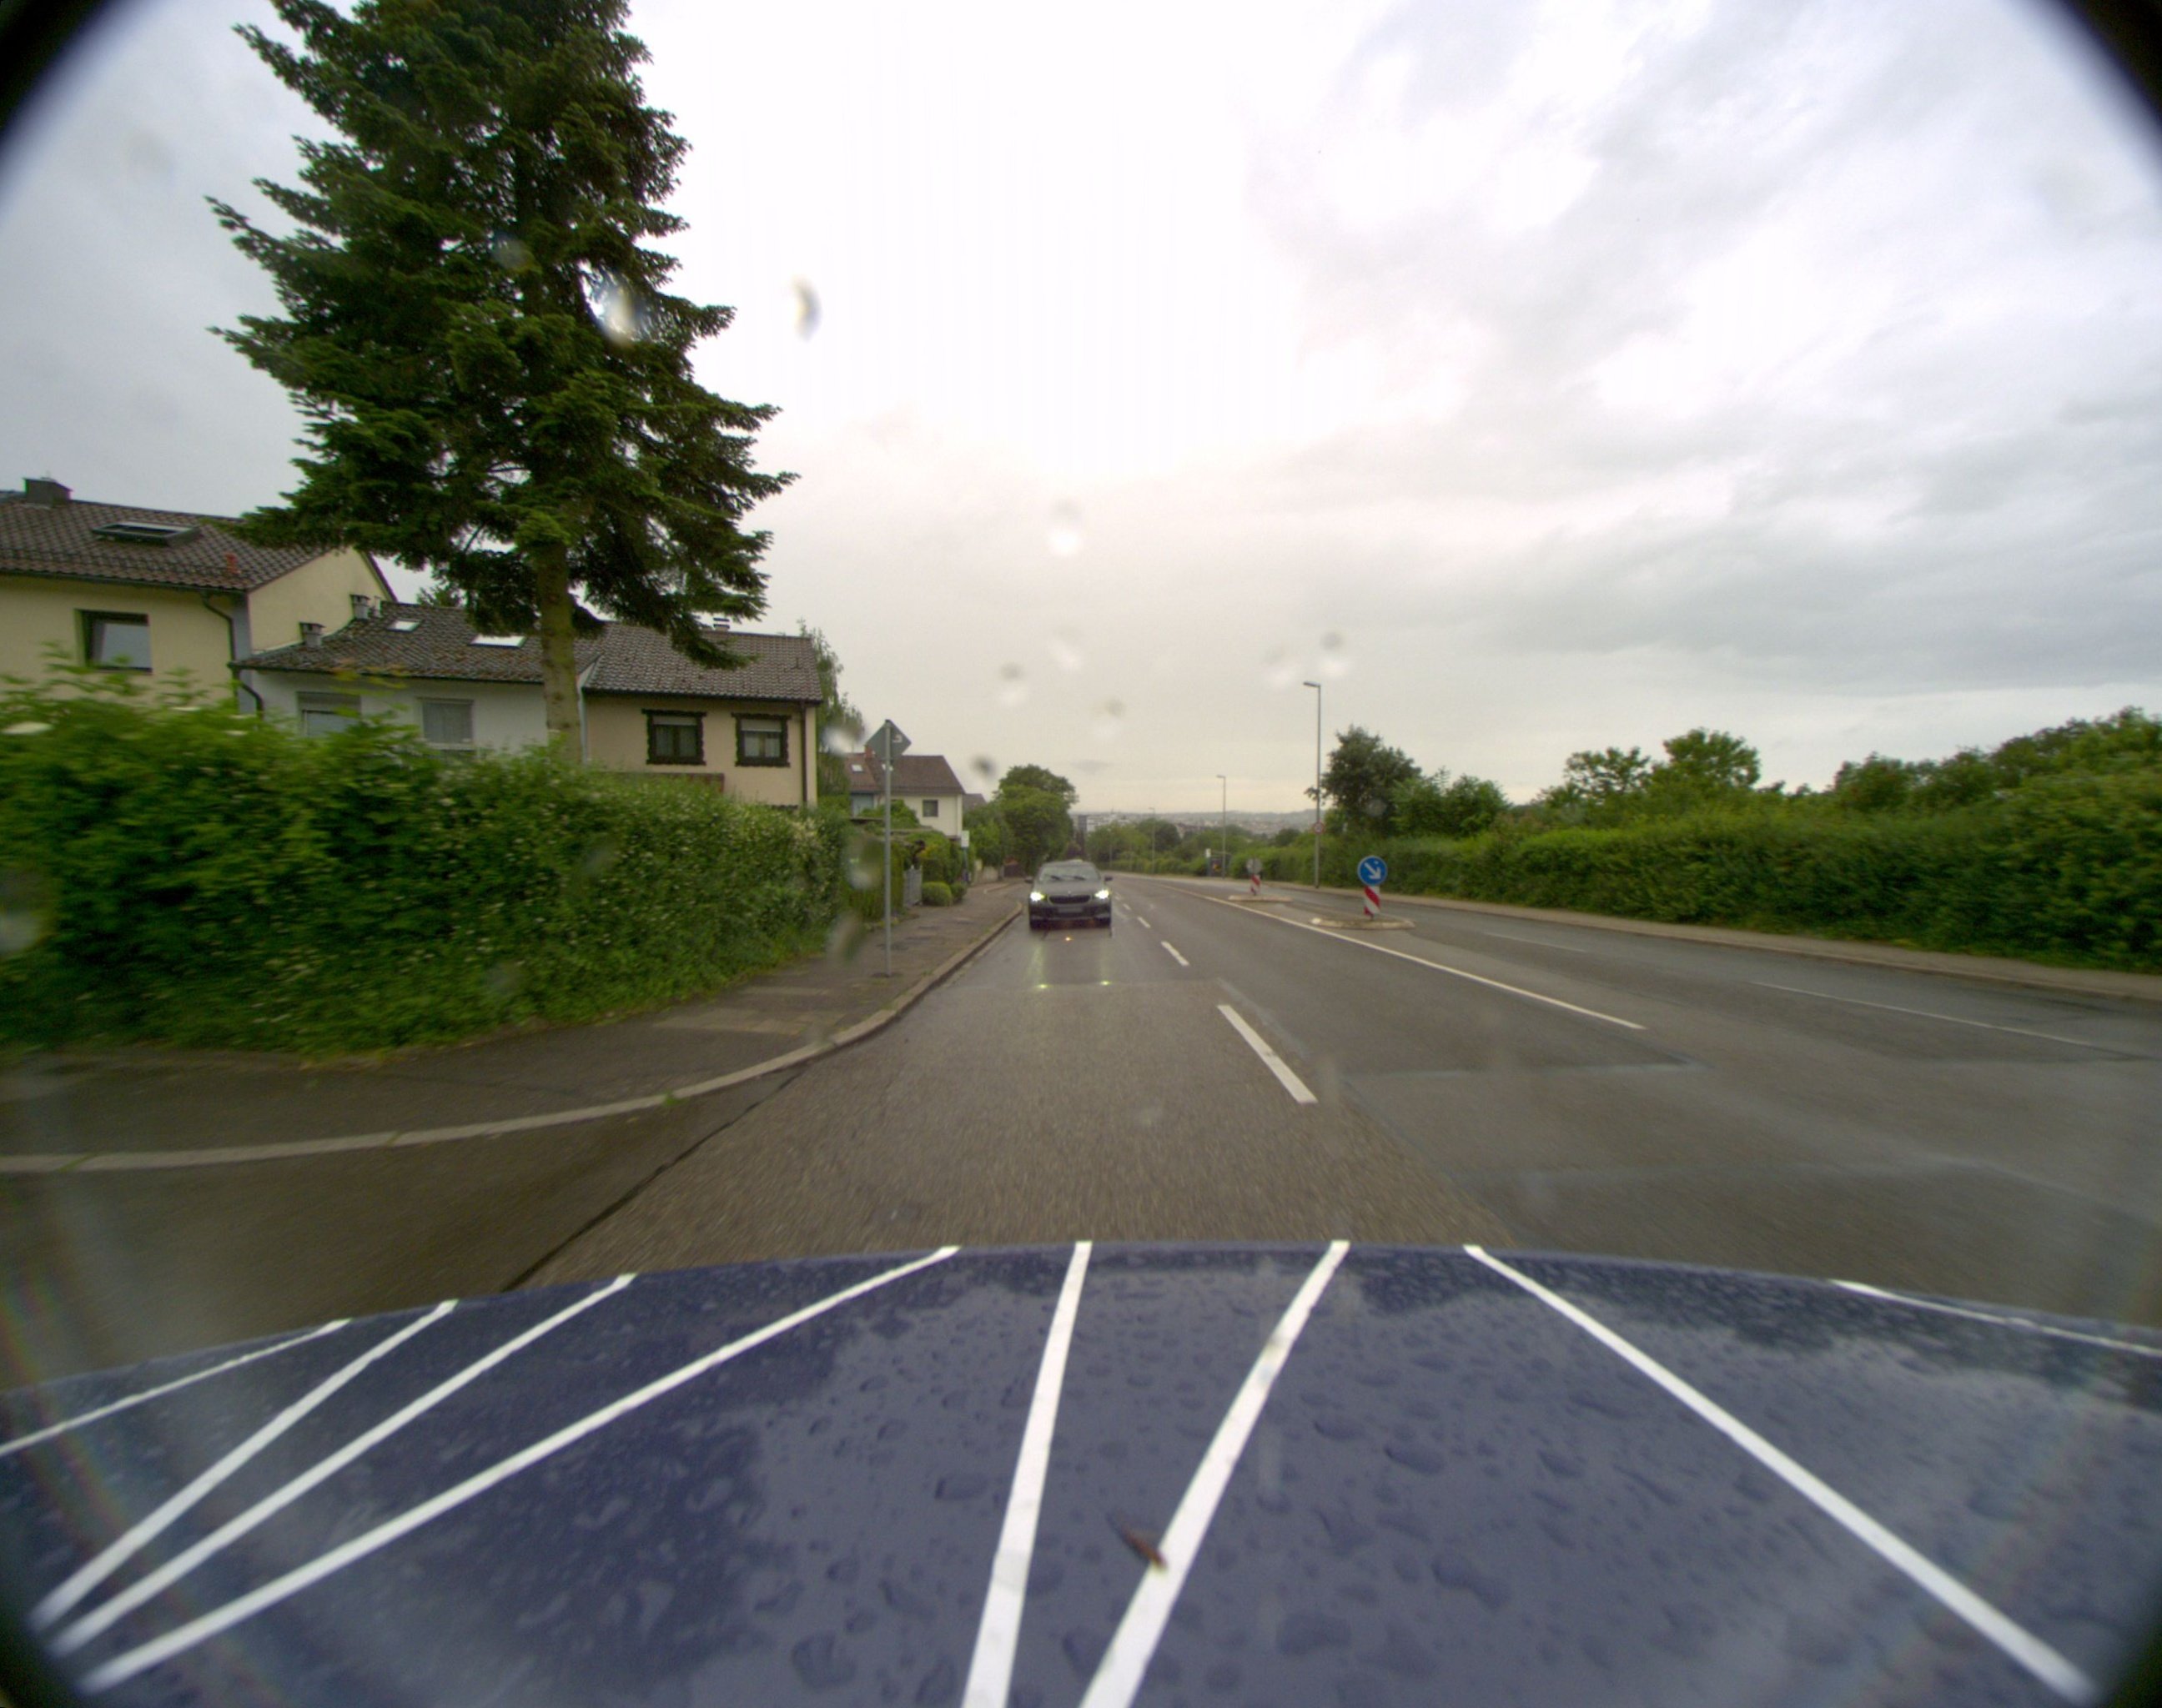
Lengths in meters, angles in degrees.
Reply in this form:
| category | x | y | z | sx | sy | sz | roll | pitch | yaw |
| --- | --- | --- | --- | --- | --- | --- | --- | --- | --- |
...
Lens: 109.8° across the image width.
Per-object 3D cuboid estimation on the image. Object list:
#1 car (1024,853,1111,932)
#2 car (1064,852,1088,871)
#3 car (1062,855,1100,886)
| category | x | y | z | sx | sy | sz | roll | pitch | yaw |
| --- | --- | --- | --- | --- | --- | --- | --- | --- | --- |
| car | -0.215 | 0.857 | 18.723 | 1.828 | 1.668 | 4.297 | -2 | 0 | 3 |
| car | -0.457 | 0.663 | 68.144 | 1.999 | 1.674 | 4.173 | 0 | 0 | -2 |
| car | -0.042 | 0.895 | 43.070 | 1.999 | 1.674 | 4.173 | 0 | 0 | -2 |
